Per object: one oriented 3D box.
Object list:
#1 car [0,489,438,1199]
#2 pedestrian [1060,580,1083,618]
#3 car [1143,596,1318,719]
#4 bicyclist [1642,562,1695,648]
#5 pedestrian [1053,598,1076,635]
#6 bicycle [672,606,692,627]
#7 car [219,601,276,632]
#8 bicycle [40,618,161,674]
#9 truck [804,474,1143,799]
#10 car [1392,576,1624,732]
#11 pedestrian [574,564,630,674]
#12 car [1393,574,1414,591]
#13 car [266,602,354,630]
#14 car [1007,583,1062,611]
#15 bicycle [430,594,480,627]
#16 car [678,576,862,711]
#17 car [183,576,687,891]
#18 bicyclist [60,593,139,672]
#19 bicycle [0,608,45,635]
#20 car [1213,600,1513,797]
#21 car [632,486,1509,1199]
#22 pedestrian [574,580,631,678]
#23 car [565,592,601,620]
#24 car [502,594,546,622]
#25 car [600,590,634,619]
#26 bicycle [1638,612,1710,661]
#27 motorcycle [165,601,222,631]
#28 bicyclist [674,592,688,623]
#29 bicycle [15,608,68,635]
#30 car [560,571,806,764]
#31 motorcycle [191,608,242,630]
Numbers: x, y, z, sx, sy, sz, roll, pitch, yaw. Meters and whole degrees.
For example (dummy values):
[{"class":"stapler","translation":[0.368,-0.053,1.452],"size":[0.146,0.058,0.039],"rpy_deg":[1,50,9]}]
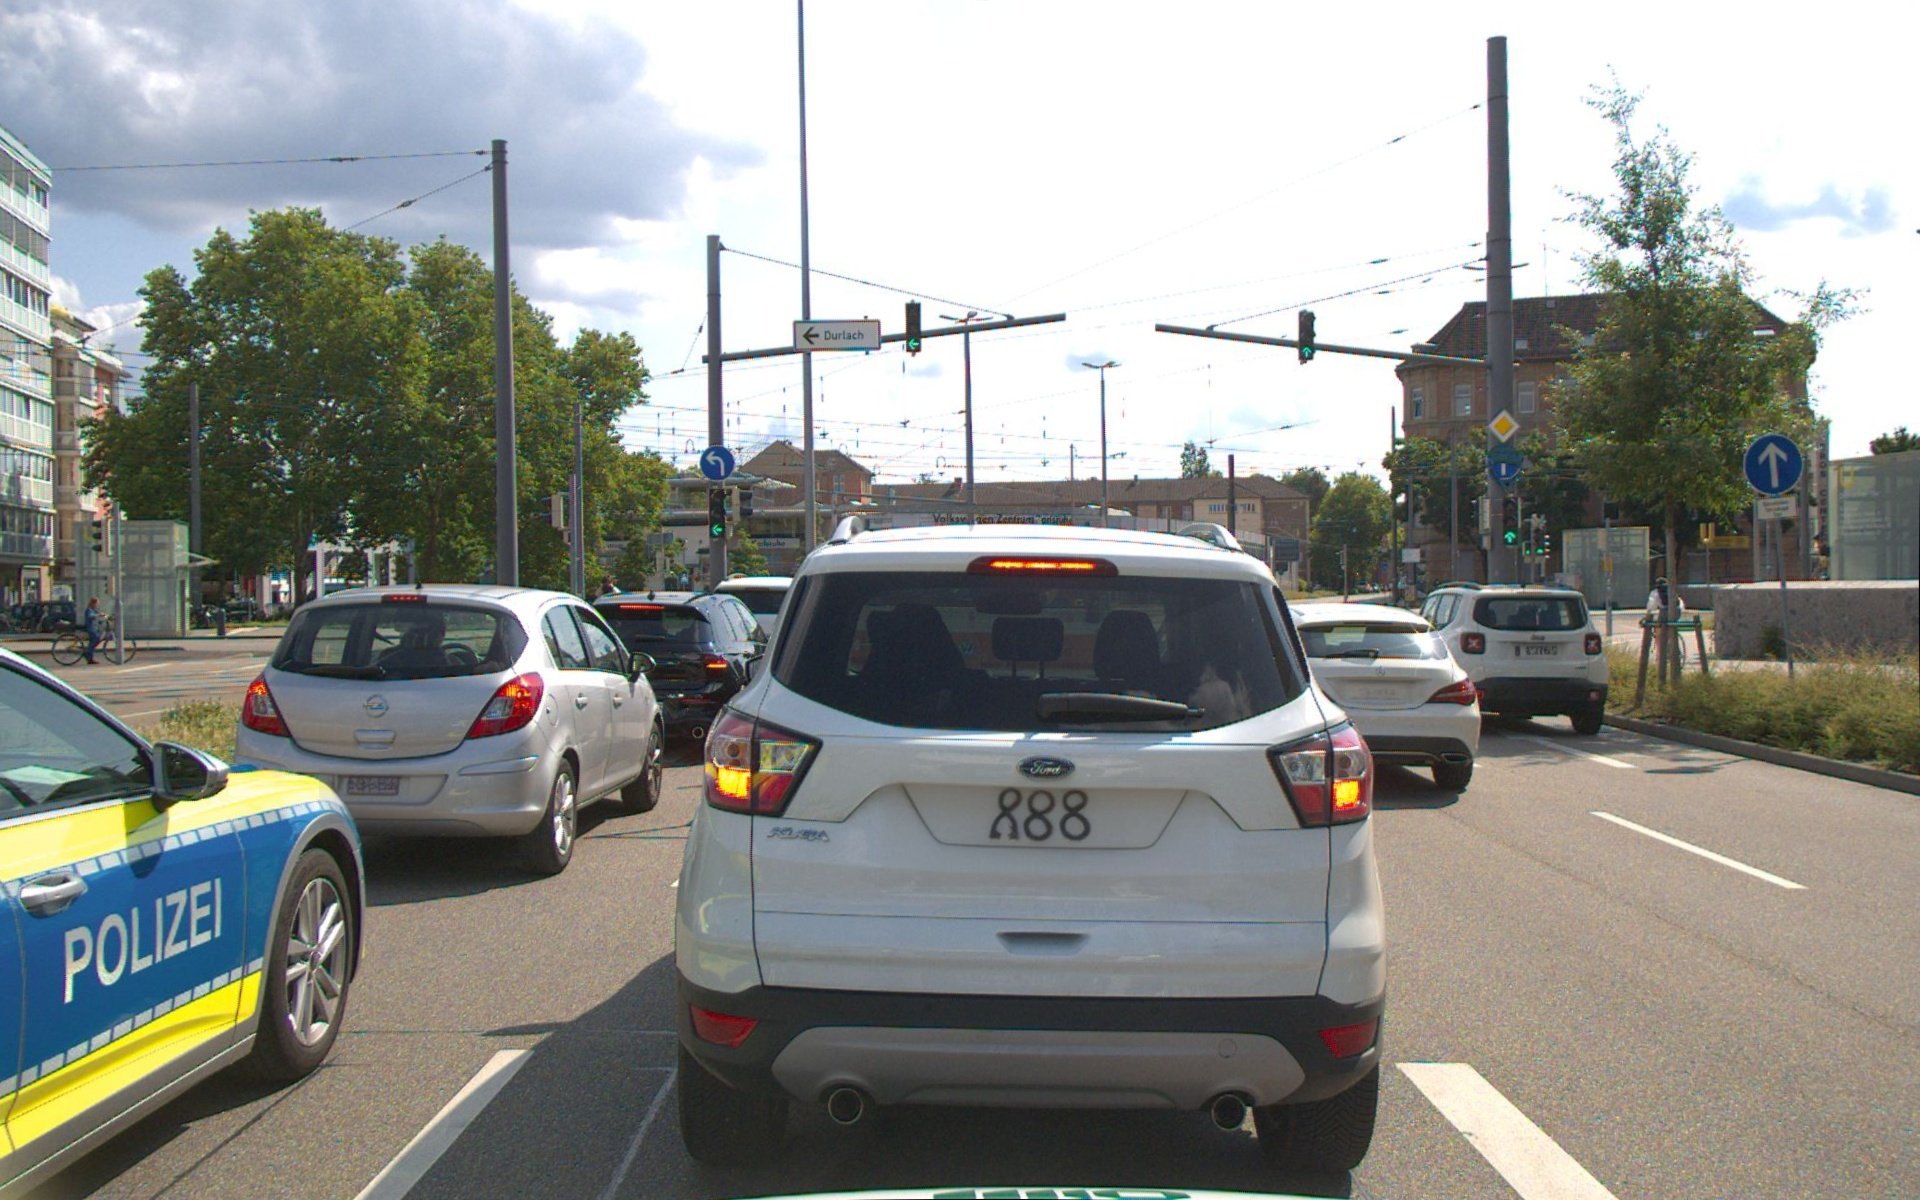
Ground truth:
[{"class":"car","translation":[-2.650,0.608,3.248],"size":[1.842,1.595,4.614],"rpy_deg":[-1,0,-1]},{"class":"pedestrian","translation":[5.331,-0.052,79.000],"size":[0.915,1.774,0.583],"rpy_deg":[1,-1,-32]},{"class":"car","translation":[3.382,0.676,21.273],"size":[1.811,1.443,3.680],"rpy_deg":[0,0,3]},{"class":"bicyclist","translation":[12.415,0.091,28.988],"size":[0.595,1.476,0.774],"rpy_deg":[-1,0,1]},{"class":"pedestrian","translation":[5.033,0.798,79.697],"size":[0.915,1.774,0.583],"rpy_deg":[1,-1,-32]},{"class":"bicycle","translation":[-15.800,0.913,93.873],"size":[0.630,1.145,1.769],"rpy_deg":[-1,1,-26]},{"class":"car","translation":[-35.662,0.842,82.894],"size":[1.872,1.438,3.987],"rpy_deg":[-1,-1,-12]},{"class":"bicycle","translation":[-19.823,1.049,38.178],"size":[2.248,1.209,0.994],"rpy_deg":[-2,0,-4]},{"class":"truck","translation":[0.182,0.240,14.125],"size":[2.290,2.193,5.853],"rpy_deg":[0,0,2]},{"class":"car","translation":[6.458,0.592,19.941],"size":[1.797,1.681,4.002],"rpy_deg":[0,0,5]},{"class":"pedestrian","translation":[-6.444,0.341,29.825],"size":[0.830,1.950,0.692],"rpy_deg":[-1,-1,-1]},{"class":"car","translation":[45.591,-1.765,169.833],"size":[1.798,1.681,4.001],"rpy_deg":[0,0,19]},{"class":"car","translation":[-33.799,0.843,86.063],"size":[3.907,1.350,1.632],"rpy_deg":[-2,-1,-3]},{"class":"car","translation":[4.242,-0.201,93.747],"size":[1.860,1.487,3.969],"rpy_deg":[-2,0,21]},{"class":"bicycle","translation":[-22.774,0.465,74.574],"size":[2.133,1.439,0.809],"rpy_deg":[0,1,-16]},{"class":"car","translation":[-2.404,0.515,22.037],"size":[1.998,1.606,4.538],"rpy_deg":[0,0,-1]},{"class":"car","translation":[-2.870,0.638,10.012],"size":[1.810,1.500,3.999],"rpy_deg":[-1,0,-1]},{"class":"bicyclist","translation":[-19.858,0.742,38.197],"size":[1.271,1.761,0.994],"rpy_deg":[-1,0,-3]},{"class":"bicycle","translation":[-40.938,0.932,71.993],"size":[1.776,1.167,0.792],"rpy_deg":[-1,0,-19]},{"class":"car","translation":[3.254,0.725,14.050],"size":[1.811,1.443,3.680],"rpy_deg":[0,0,3]},{"class":"car","translation":[0.315,0.615,5.379],"size":[1.789,1.693,3.957],"rpy_deg":[0,0,3]},{"class":"pedestrian","translation":[-6.259,0.505,28.999],"size":[0.830,1.676,0.692],"rpy_deg":[-1,-1,-1]},{"class":"car","translation":[-28.132,0.473,123.458],"size":[1.929,1.971,4.226],"rpy_deg":[-2,-1,-5]},{"class":"car","translation":[-32.710,0.625,124.186],"size":[1.928,1.971,5.067],"rpy_deg":[-2,-1,-1]},{"class":"car","translation":[-25.526,0.345,123.243],"size":[1.955,2.049,4.226],"rpy_deg":[-2,-1,-5]},{"class":"bicycle","translation":[12.442,0.625,28.874],"size":[0.572,0.789,1.621],"rpy_deg":[-1,0,1]},{"class":"motorcycle","translation":[-33.134,0.686,71.487],"size":[2.165,1.259,0.906],"rpy_deg":[-1,1,17]},{"class":"bicyclist","translation":[-15.862,0.427,93.958],"size":[0.629,1.768,0.657],"rpy_deg":[0,1,-25]},{"class":"bicycle","translation":[-40.692,0.956,73.300],"size":[1.914,1.167,0.792],"rpy_deg":[-1,0,-19]},{"class":"car","translation":[-2.513,0.552,16.014],"size":[1.727,1.595,4.525],"rpy_deg":[1,0,-2]},{"class":"motorcycle","translation":[-34.300,0.873,76.313],"size":[0.795,0.933,2.037],"rpy_deg":[0,1,36]}]
